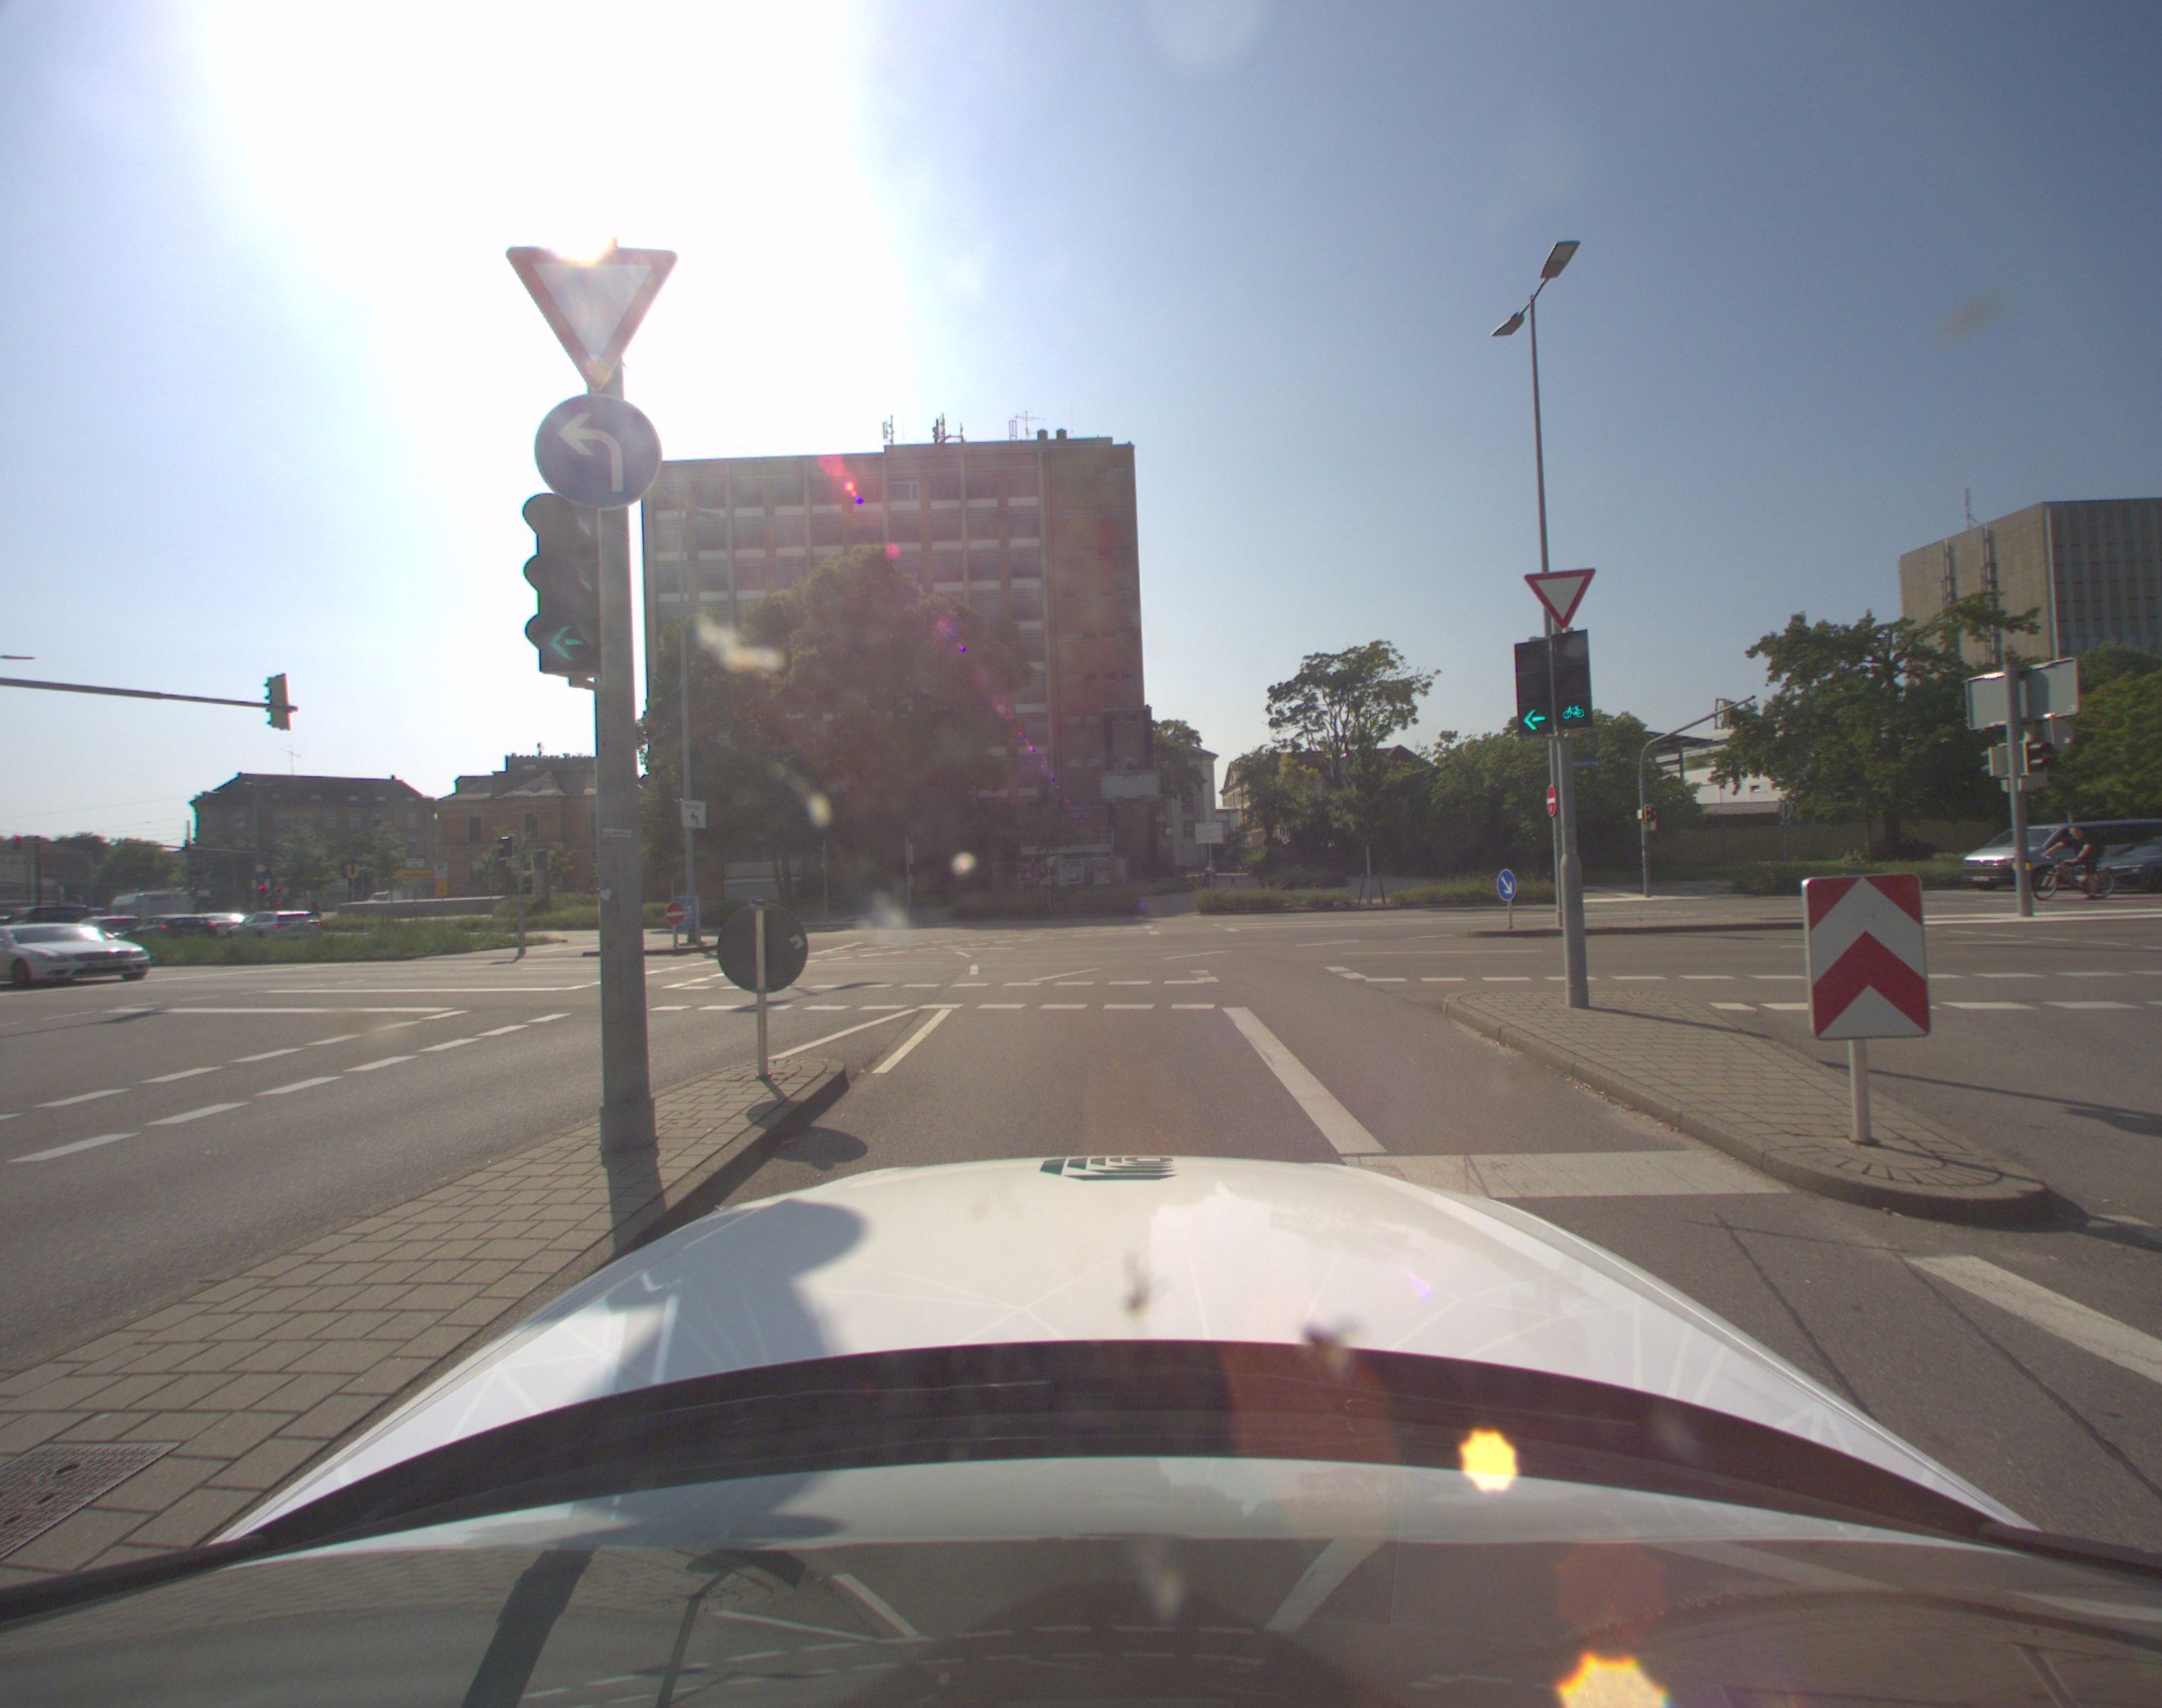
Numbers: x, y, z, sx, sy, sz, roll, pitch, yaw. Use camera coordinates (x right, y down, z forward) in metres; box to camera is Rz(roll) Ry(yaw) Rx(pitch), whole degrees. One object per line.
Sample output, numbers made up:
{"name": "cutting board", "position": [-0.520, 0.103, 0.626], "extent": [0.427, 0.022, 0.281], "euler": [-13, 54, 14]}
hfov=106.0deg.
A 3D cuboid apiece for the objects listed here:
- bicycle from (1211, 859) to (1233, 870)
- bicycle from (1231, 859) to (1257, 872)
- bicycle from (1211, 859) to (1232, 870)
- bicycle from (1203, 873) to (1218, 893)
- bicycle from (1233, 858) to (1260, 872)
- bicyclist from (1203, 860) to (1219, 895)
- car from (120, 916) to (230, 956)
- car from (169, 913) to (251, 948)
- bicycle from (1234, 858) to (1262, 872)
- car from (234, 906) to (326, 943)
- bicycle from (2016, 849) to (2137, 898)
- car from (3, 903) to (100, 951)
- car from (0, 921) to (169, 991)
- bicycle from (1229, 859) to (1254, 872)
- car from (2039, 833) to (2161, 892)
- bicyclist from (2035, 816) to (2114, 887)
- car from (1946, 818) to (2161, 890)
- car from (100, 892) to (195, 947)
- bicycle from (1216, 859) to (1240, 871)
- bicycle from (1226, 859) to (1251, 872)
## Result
{"name": "bicycle", "position": [16.420, 1.208, 95.005], "extent": [2.415, 1.280, 0.721], "euler": [-1, -1, 5]}
{"name": "bicycle", "position": [15.902, 1.132, 79.285], "extent": [2.415, 1.223, 0.721], "euler": [-1, -1, 5]}
{"name": "bicycle", "position": [16.235, 1.216, 94.181], "extent": [2.415, 1.262, 0.721], "euler": [-1, -1, 5]}
{"name": "bicycle", "position": [6.047, 1.358, 38.030], "extent": [0.669, 0.879, 1.404], "euler": [-3, -1, 9]}
{"name": "bicycle", "position": [15.615, 1.051, 76.755], "extent": [2.415, 1.318, 0.721], "euler": [-1, -1, 5]}
{"name": "bicyclist", "position": [6.076, 1.073, 38.147], "extent": [0.646, 1.601, 0.922], "euler": [-3, -1, 9]}
{"name": "car", "position": [-35.934, 3.256, 32.313], "extent": [3.915, 1.368, 1.716], "euler": [-3, -2, 23]}
{"name": "car", "position": [-40.057, 3.519, 37.454], "extent": [3.893, 1.403, 1.502], "euler": [-4, -2, 26]}
{"name": "bicycle", "position": [15.513, 1.041, 75.622], "extent": [2.415, 1.318, 0.721], "euler": [-1, -1, 5]}
{"name": "car", "position": [-34.189, 3.002, 34.746], "extent": [3.588, 1.387, 1.700], "euler": [-4, -2, 26]}
{"name": "bicycle", "position": [23.680, 0.451, 19.402], "extent": [1.761, 1.052, 0.771], "euler": [-3, -1, 5]}
{"name": "car", "position": [-48.067, 3.401, 38.002], "extent": [4.624, 2.008, 2.042], "euler": [-4, -2, 28]}
{"name": "car", "position": [-23.914, 2.357, 18.930], "extent": [4.764, 1.362, 1.856], "euler": [-3, -2, 18]}
{"name": "bicycle", "position": [16.260, 1.167, 82.406], "extent": [2.415, 1.234, 0.721], "euler": [-1, -1, 5]}
{"name": "car", "position": [28.748, 0.147, 21.200], "extent": [4.876, 1.401, 1.916], "euler": [-3, -1, 8]}
{"name": "bicyclist", "position": [23.649, -0.055, 19.407], "extent": [0.868, 1.635, 0.750], "euler": [-3, -1, 6]}
{"name": "car", "position": [29.216, -0.018, 24.056], "extent": [4.929, 1.875, 1.851], "euler": [-3, -1, 8]}
{"name": "car", "position": [-47.784, 3.361, 41.664], "extent": [4.624, 2.549, 2.209], "euler": [-4, -2, 28]}
{"name": "bicycle", "position": [15.752, 1.184, 87.191], "extent": [2.415, 1.282, 0.721], "euler": [-1, -1, 5]}
{"name": "bicycle", "position": [16.138, 1.165, 83.353], "extent": [2.415, 1.239, 0.721], "euler": [-1, -1, 5]}
